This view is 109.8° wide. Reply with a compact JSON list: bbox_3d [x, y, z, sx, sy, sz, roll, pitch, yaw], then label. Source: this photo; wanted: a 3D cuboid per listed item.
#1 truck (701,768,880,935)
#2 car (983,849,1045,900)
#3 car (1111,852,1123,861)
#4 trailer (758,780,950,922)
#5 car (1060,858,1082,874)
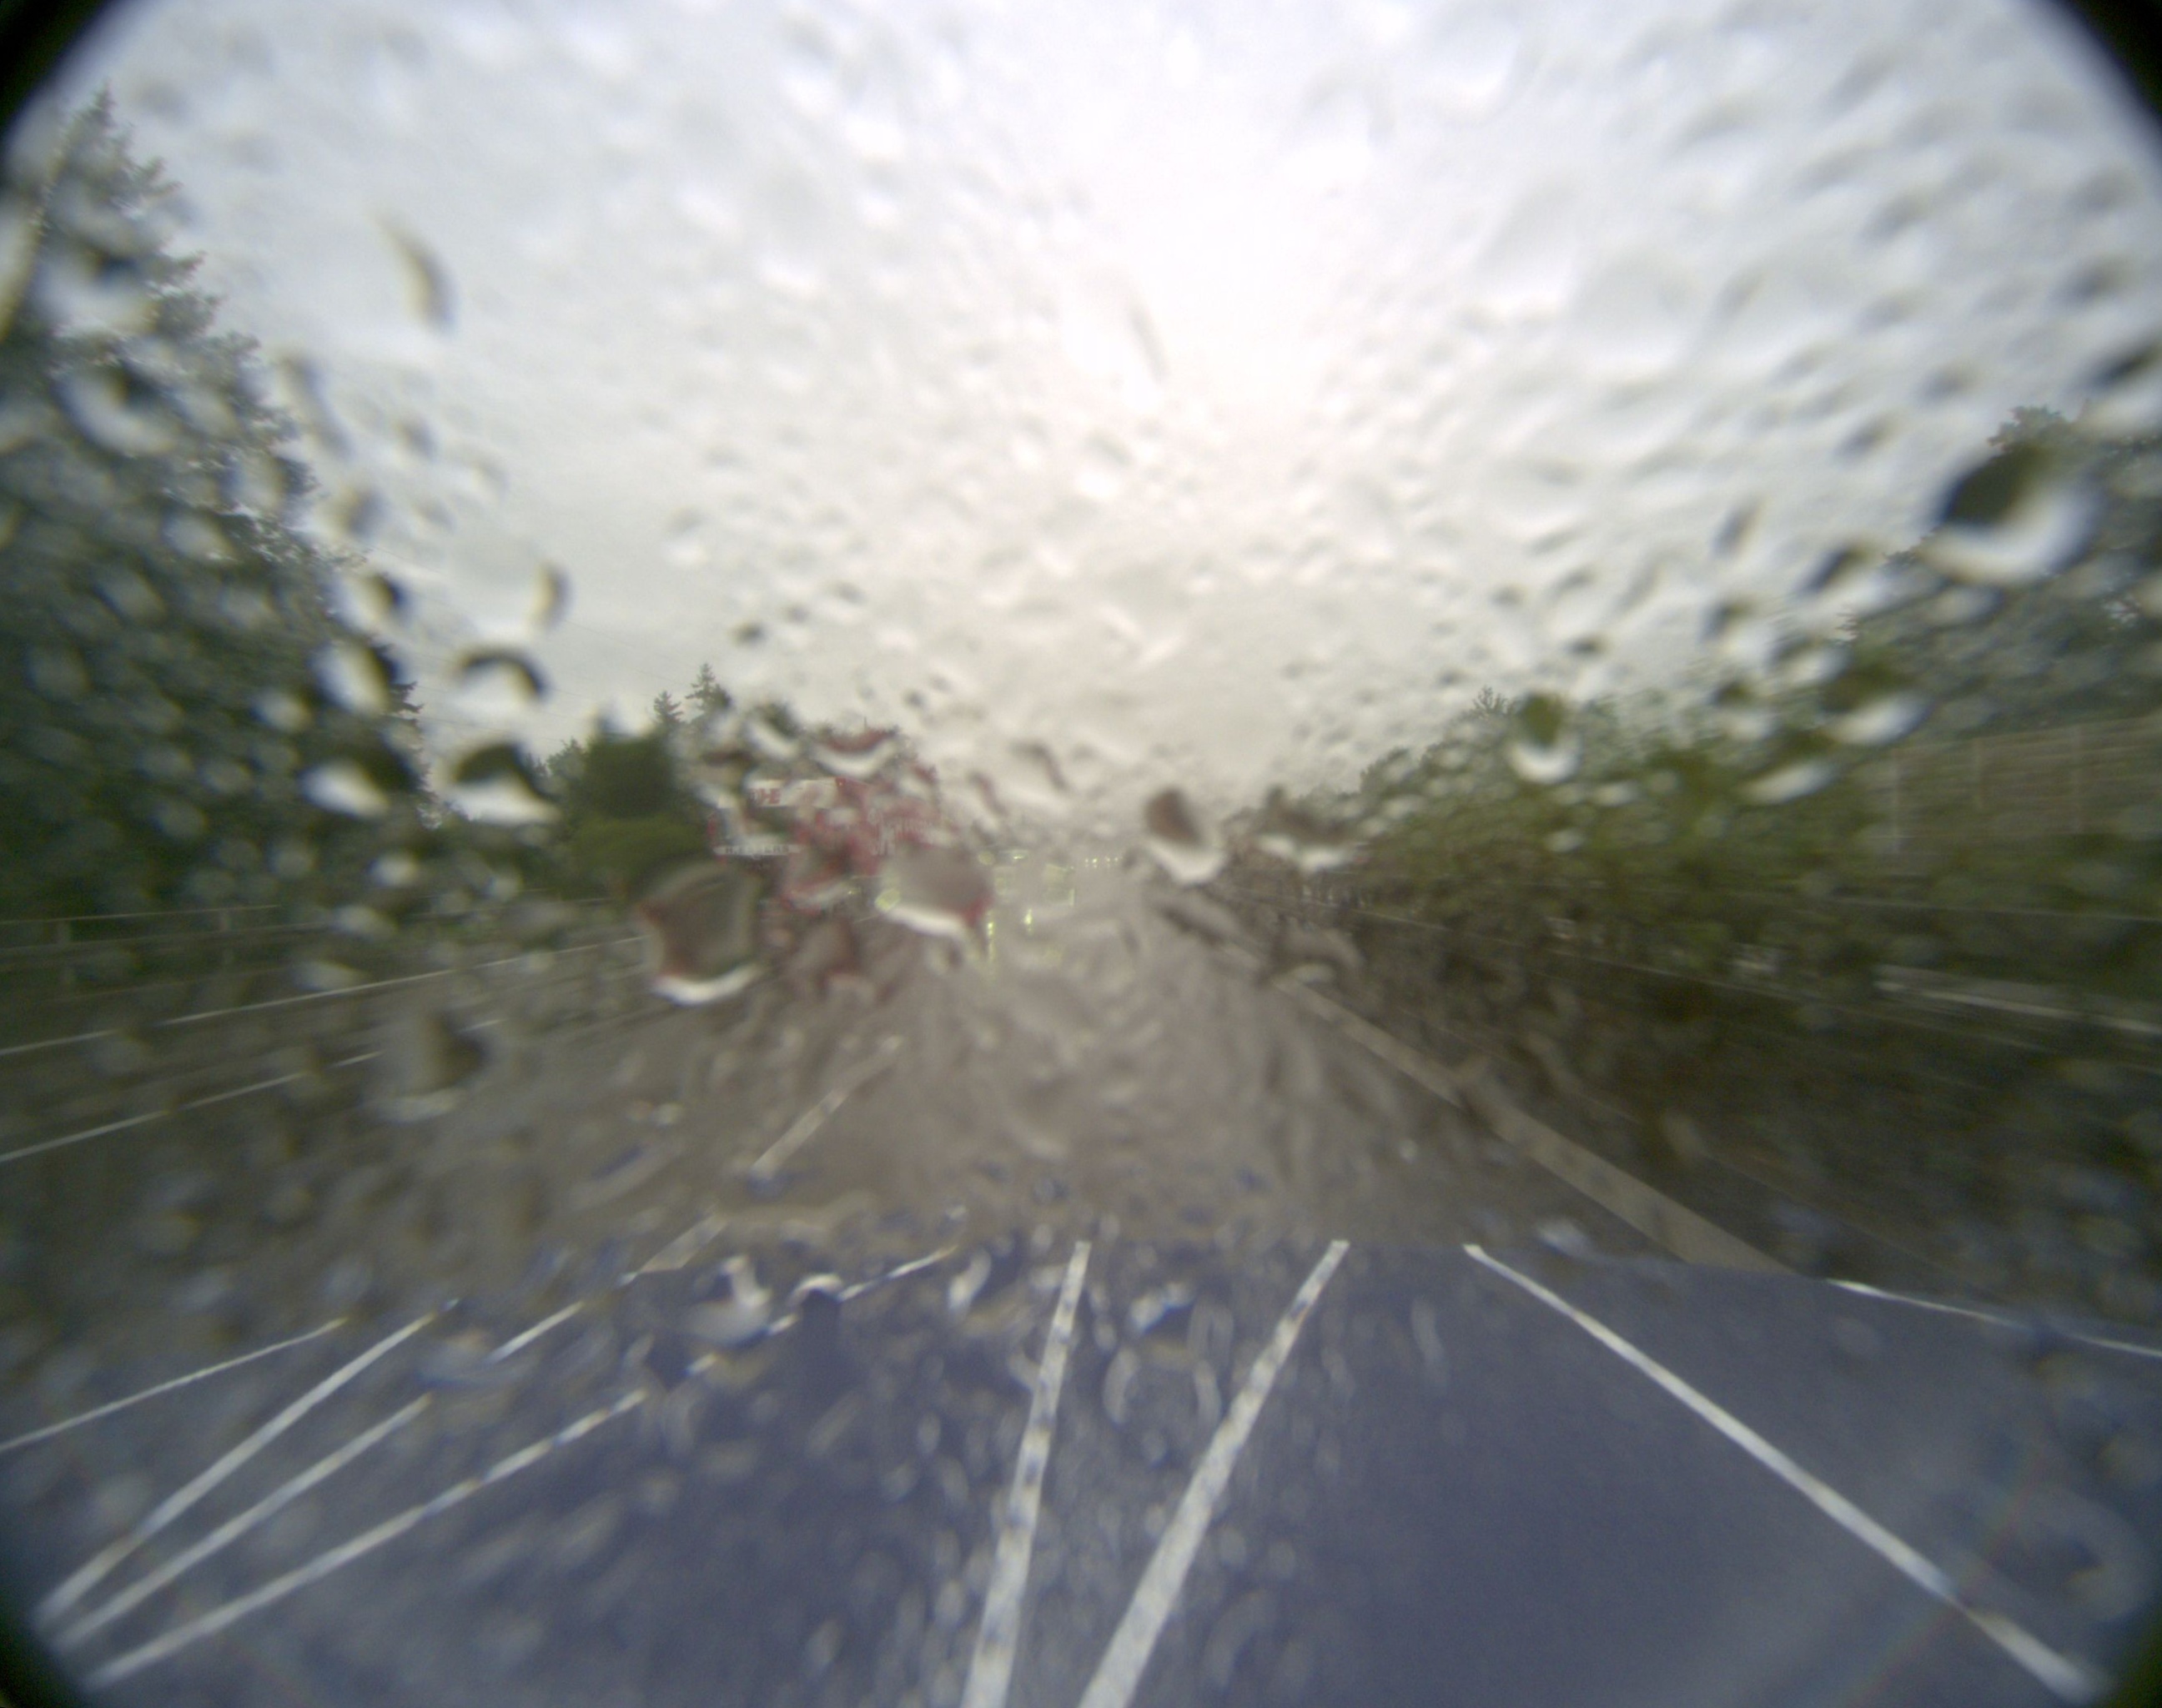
[{"bbox_3d":[-7.750,-0.069,21.092,2.626,3.932,5.433,-2,0,1],"label":"truck"},{"bbox_3d":[-2.769,0.829,32.590,1.892,1.872,5.010,-5,0,2],"label":"car"},{"bbox_3d":[6.896,0.503,145.917,1.768,1.448,3.961,-5,0,7],"label":"car"},{"bbox_3d":[-7.594,-0.110,28.310,2.626,3.932,13.630,-2,0,1],"label":"trailer"},{"bbox_3d":[-1.072,1.286,80.706,1.768,1.448,3.961,-5,0,6],"label":"car"}]
